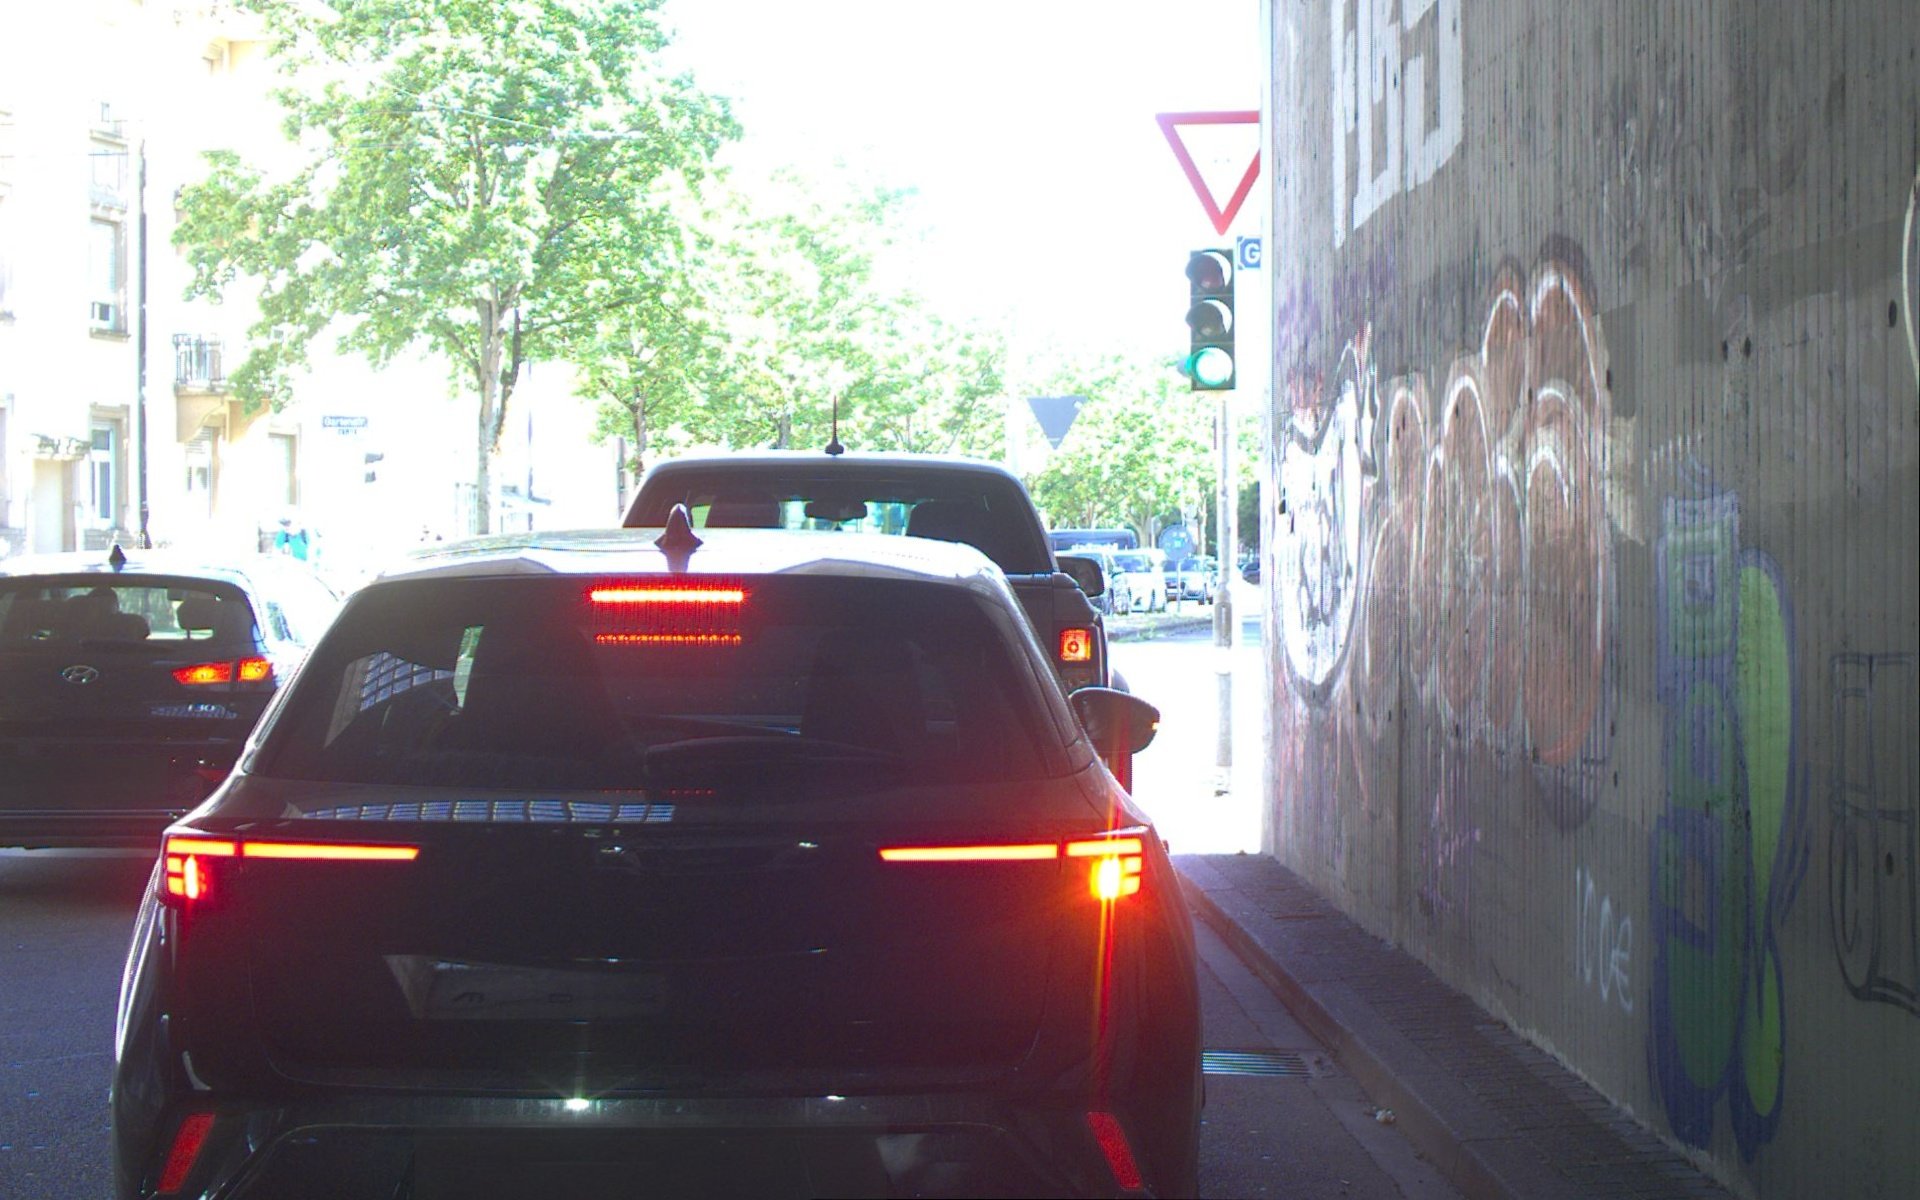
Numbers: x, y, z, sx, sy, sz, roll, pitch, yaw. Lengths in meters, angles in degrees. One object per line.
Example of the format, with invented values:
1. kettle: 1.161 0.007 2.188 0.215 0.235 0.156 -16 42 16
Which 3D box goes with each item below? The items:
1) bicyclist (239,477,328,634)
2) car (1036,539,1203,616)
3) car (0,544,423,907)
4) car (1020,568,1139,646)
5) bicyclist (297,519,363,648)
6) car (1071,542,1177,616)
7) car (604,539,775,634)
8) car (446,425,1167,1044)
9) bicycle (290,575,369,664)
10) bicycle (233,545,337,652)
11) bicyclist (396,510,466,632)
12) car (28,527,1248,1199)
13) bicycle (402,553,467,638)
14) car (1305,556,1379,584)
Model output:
1. bicyclist: -7.491 -0.504 38.085 0.745 1.705 0.967 0 3 2
2. car: 5.371 -0.774 116.170 5.259 2.537 1.986 -1 0 -15
3. car: -3.644 0.471 15.999 1.800 1.446 4.327 0 1 -3
4. car: 2.375 0.114 67.423 1.708 1.447 3.849 0 1 12
5. bicyclist: -8.020 -0.217 43.778 0.606 1.627 0.910 0 1 5
6. car: 3.591 -0.467 74.699 1.705 1.507 3.861 -2 1 11
7. car: -4.216 -0.234 54.120 1.658 1.436 3.461 0 1 14
8. car: -0.493 0.355 12.693 2.133 1.829 4.941 0 1 -1
9. bicycle: -8.013 0.231 43.760 0.525 1.086 1.860 0 1 5
10. bicycle: -7.467 -0.027 38.105 0.698 1.086 1.860 0 3 3
11. bicyclist: -7.243 -0.406 47.124 0.782 1.654 1.031 0 1 1
12. car: -0.496 0.624 6.928 1.781 1.512 3.756 1 1 -1
13. bicycle: -7.214 -0.070 47.232 0.541 1.119 2.058 0 1 1
14. car: 21.543 -1.690 193.824 3.947 1.392 1.516 -3 0 1
